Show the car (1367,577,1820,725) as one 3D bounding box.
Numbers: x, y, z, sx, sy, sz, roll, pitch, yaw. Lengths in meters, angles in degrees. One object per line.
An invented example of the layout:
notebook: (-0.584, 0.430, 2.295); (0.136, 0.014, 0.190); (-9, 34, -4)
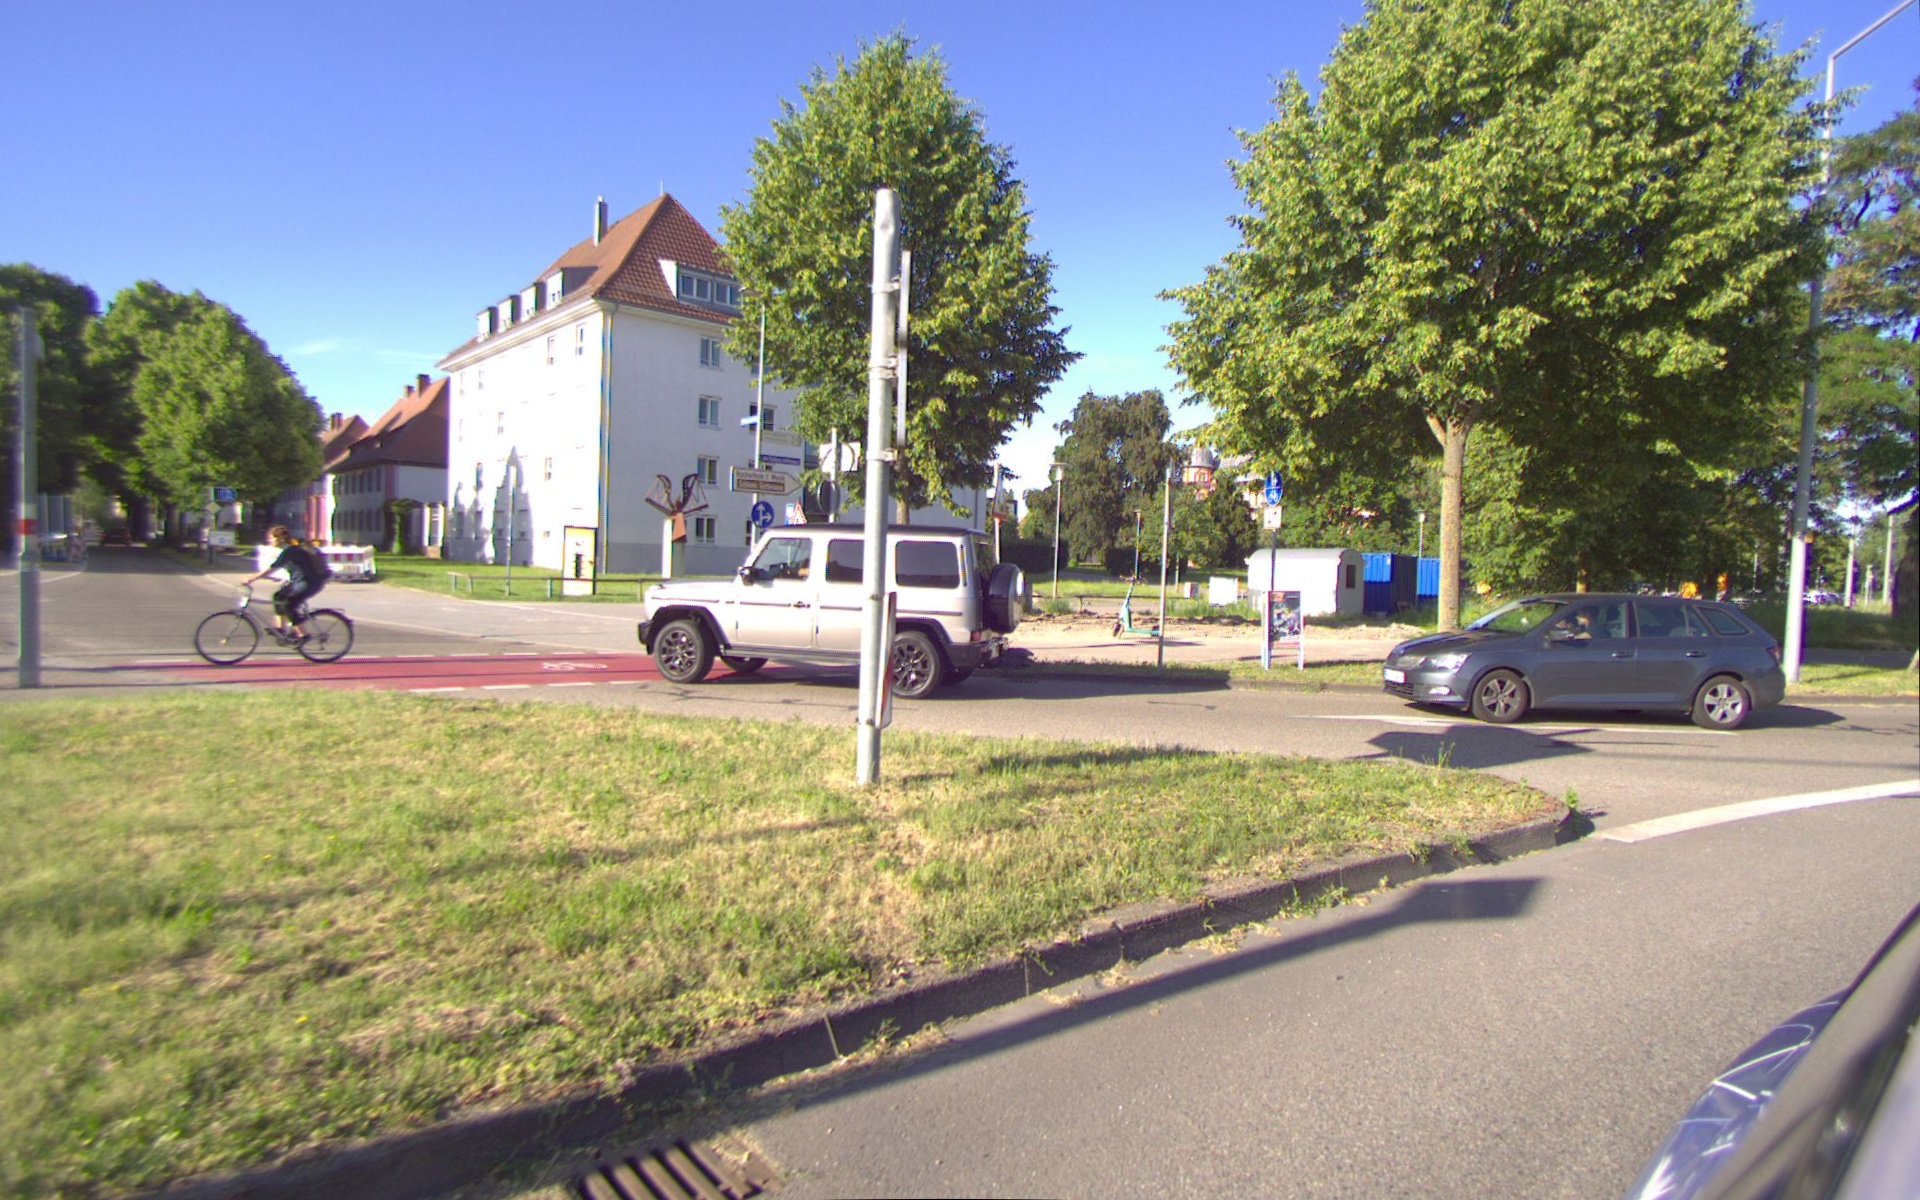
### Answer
car: (7.113, 0.524, 11.670); (4.072, 1.454, 1.720); (2, 1, 0)

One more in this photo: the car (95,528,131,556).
car: (-64.575, -4.404, 77.178); (1.964, 1.895, 3.996); (2, 0, -39)

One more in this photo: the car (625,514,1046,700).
car: (-1.451, 0.009, 12.364); (4.684, 1.920, 1.995); (2, 1, 15)

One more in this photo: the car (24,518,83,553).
car: (-52.513, -3.699, 58.686); (1.961, 1.922, 4.002); (1, 2, -34)

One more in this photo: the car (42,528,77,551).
car: (-71.771, -4.814, 80.707); (1.964, 1.721, 3.996); (0, 2, -40)

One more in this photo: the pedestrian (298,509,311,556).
pedestrian: (-29.254, -3.006, 45.155); (0.462, 2.038, 0.455); (1, 2, -33)

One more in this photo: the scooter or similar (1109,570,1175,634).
scooter or similar: (3.674, 0.047, 20.428); (1.238, 1.263, 0.445); (1, 0, -19)

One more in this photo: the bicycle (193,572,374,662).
bicycle: (-8.363, 0.201, 12.562); (1.791, 1.040, 0.659); (1, 0, -40)

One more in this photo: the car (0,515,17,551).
car: (-54.726, -3.813, 57.005); (1.964, 1.895, 3.996); (2, 0, -39)

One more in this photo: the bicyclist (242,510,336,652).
bicyclist: (-8.339, -0.224, 12.575); (0.883, 1.686, 0.659); (2, 0, -39)
